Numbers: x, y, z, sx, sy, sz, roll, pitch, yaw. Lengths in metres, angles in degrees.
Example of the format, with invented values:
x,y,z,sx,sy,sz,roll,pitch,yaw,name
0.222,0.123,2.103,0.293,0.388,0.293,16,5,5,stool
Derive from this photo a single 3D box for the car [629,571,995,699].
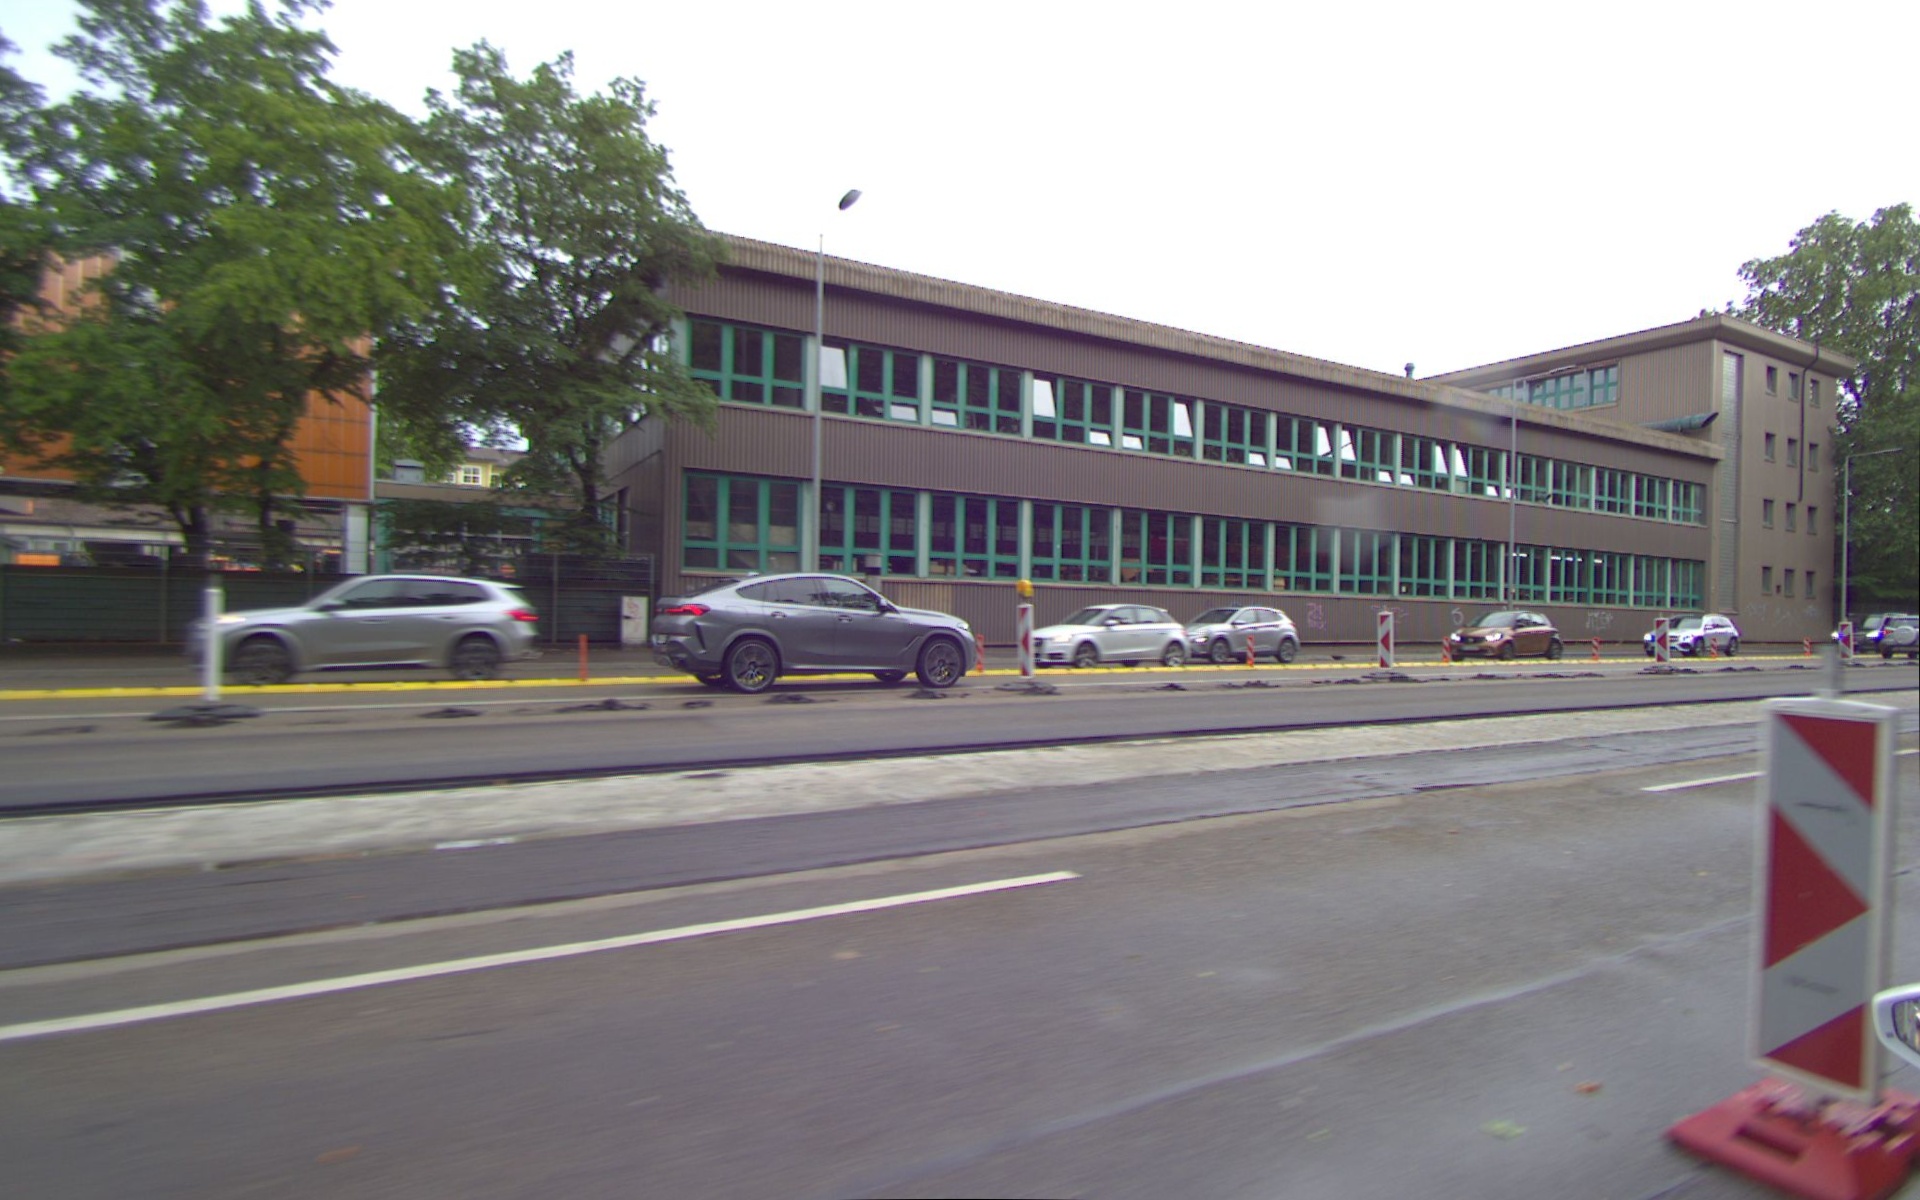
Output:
x,y,z,sx,sy,sz,roll,pitch,yaw,name
-2.147,0.491,15.036,4.998,1.635,2.066,2,0,-31,car

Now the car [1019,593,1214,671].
x,y,z,sx,sy,sz,roll,pitch,yaw,name
3.434,0.691,21.938,3.945,1.555,1.795,2,0,-30,car

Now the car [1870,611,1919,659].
x,y,z,sx,sy,sz,roll,pitch,yaw,name
36.077,1.321,37.612,3.953,1.670,1.845,2,0,-30,car

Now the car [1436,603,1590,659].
x,y,z,sx,sy,sz,roll,pitch,yaw,name
16.348,0.918,29.656,4.460,1.522,1.886,2,0,-29,car

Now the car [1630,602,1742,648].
x,y,z,sx,sy,sz,roll,pitch,yaw,name
29.448,1.040,40.704,4.879,1.729,1.927,2,0,-31,car

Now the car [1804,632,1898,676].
x,y,z,sx,sy,sz,roll,pitch,yaw,name
44.121,2.643,49.696,5.303,1.944,1.983,2,0,-31,car

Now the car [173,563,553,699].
x,y,z,sx,sy,sz,roll,pitch,yaw,name
-8.746,0.452,15.163,4.617,1.792,1.980,2,0,-29,car

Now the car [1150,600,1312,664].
x,y,z,sx,sy,sz,roll,pitch,yaw,name
7.475,0.884,27.664,4.130,1.607,1.984,2,0,-30,car
